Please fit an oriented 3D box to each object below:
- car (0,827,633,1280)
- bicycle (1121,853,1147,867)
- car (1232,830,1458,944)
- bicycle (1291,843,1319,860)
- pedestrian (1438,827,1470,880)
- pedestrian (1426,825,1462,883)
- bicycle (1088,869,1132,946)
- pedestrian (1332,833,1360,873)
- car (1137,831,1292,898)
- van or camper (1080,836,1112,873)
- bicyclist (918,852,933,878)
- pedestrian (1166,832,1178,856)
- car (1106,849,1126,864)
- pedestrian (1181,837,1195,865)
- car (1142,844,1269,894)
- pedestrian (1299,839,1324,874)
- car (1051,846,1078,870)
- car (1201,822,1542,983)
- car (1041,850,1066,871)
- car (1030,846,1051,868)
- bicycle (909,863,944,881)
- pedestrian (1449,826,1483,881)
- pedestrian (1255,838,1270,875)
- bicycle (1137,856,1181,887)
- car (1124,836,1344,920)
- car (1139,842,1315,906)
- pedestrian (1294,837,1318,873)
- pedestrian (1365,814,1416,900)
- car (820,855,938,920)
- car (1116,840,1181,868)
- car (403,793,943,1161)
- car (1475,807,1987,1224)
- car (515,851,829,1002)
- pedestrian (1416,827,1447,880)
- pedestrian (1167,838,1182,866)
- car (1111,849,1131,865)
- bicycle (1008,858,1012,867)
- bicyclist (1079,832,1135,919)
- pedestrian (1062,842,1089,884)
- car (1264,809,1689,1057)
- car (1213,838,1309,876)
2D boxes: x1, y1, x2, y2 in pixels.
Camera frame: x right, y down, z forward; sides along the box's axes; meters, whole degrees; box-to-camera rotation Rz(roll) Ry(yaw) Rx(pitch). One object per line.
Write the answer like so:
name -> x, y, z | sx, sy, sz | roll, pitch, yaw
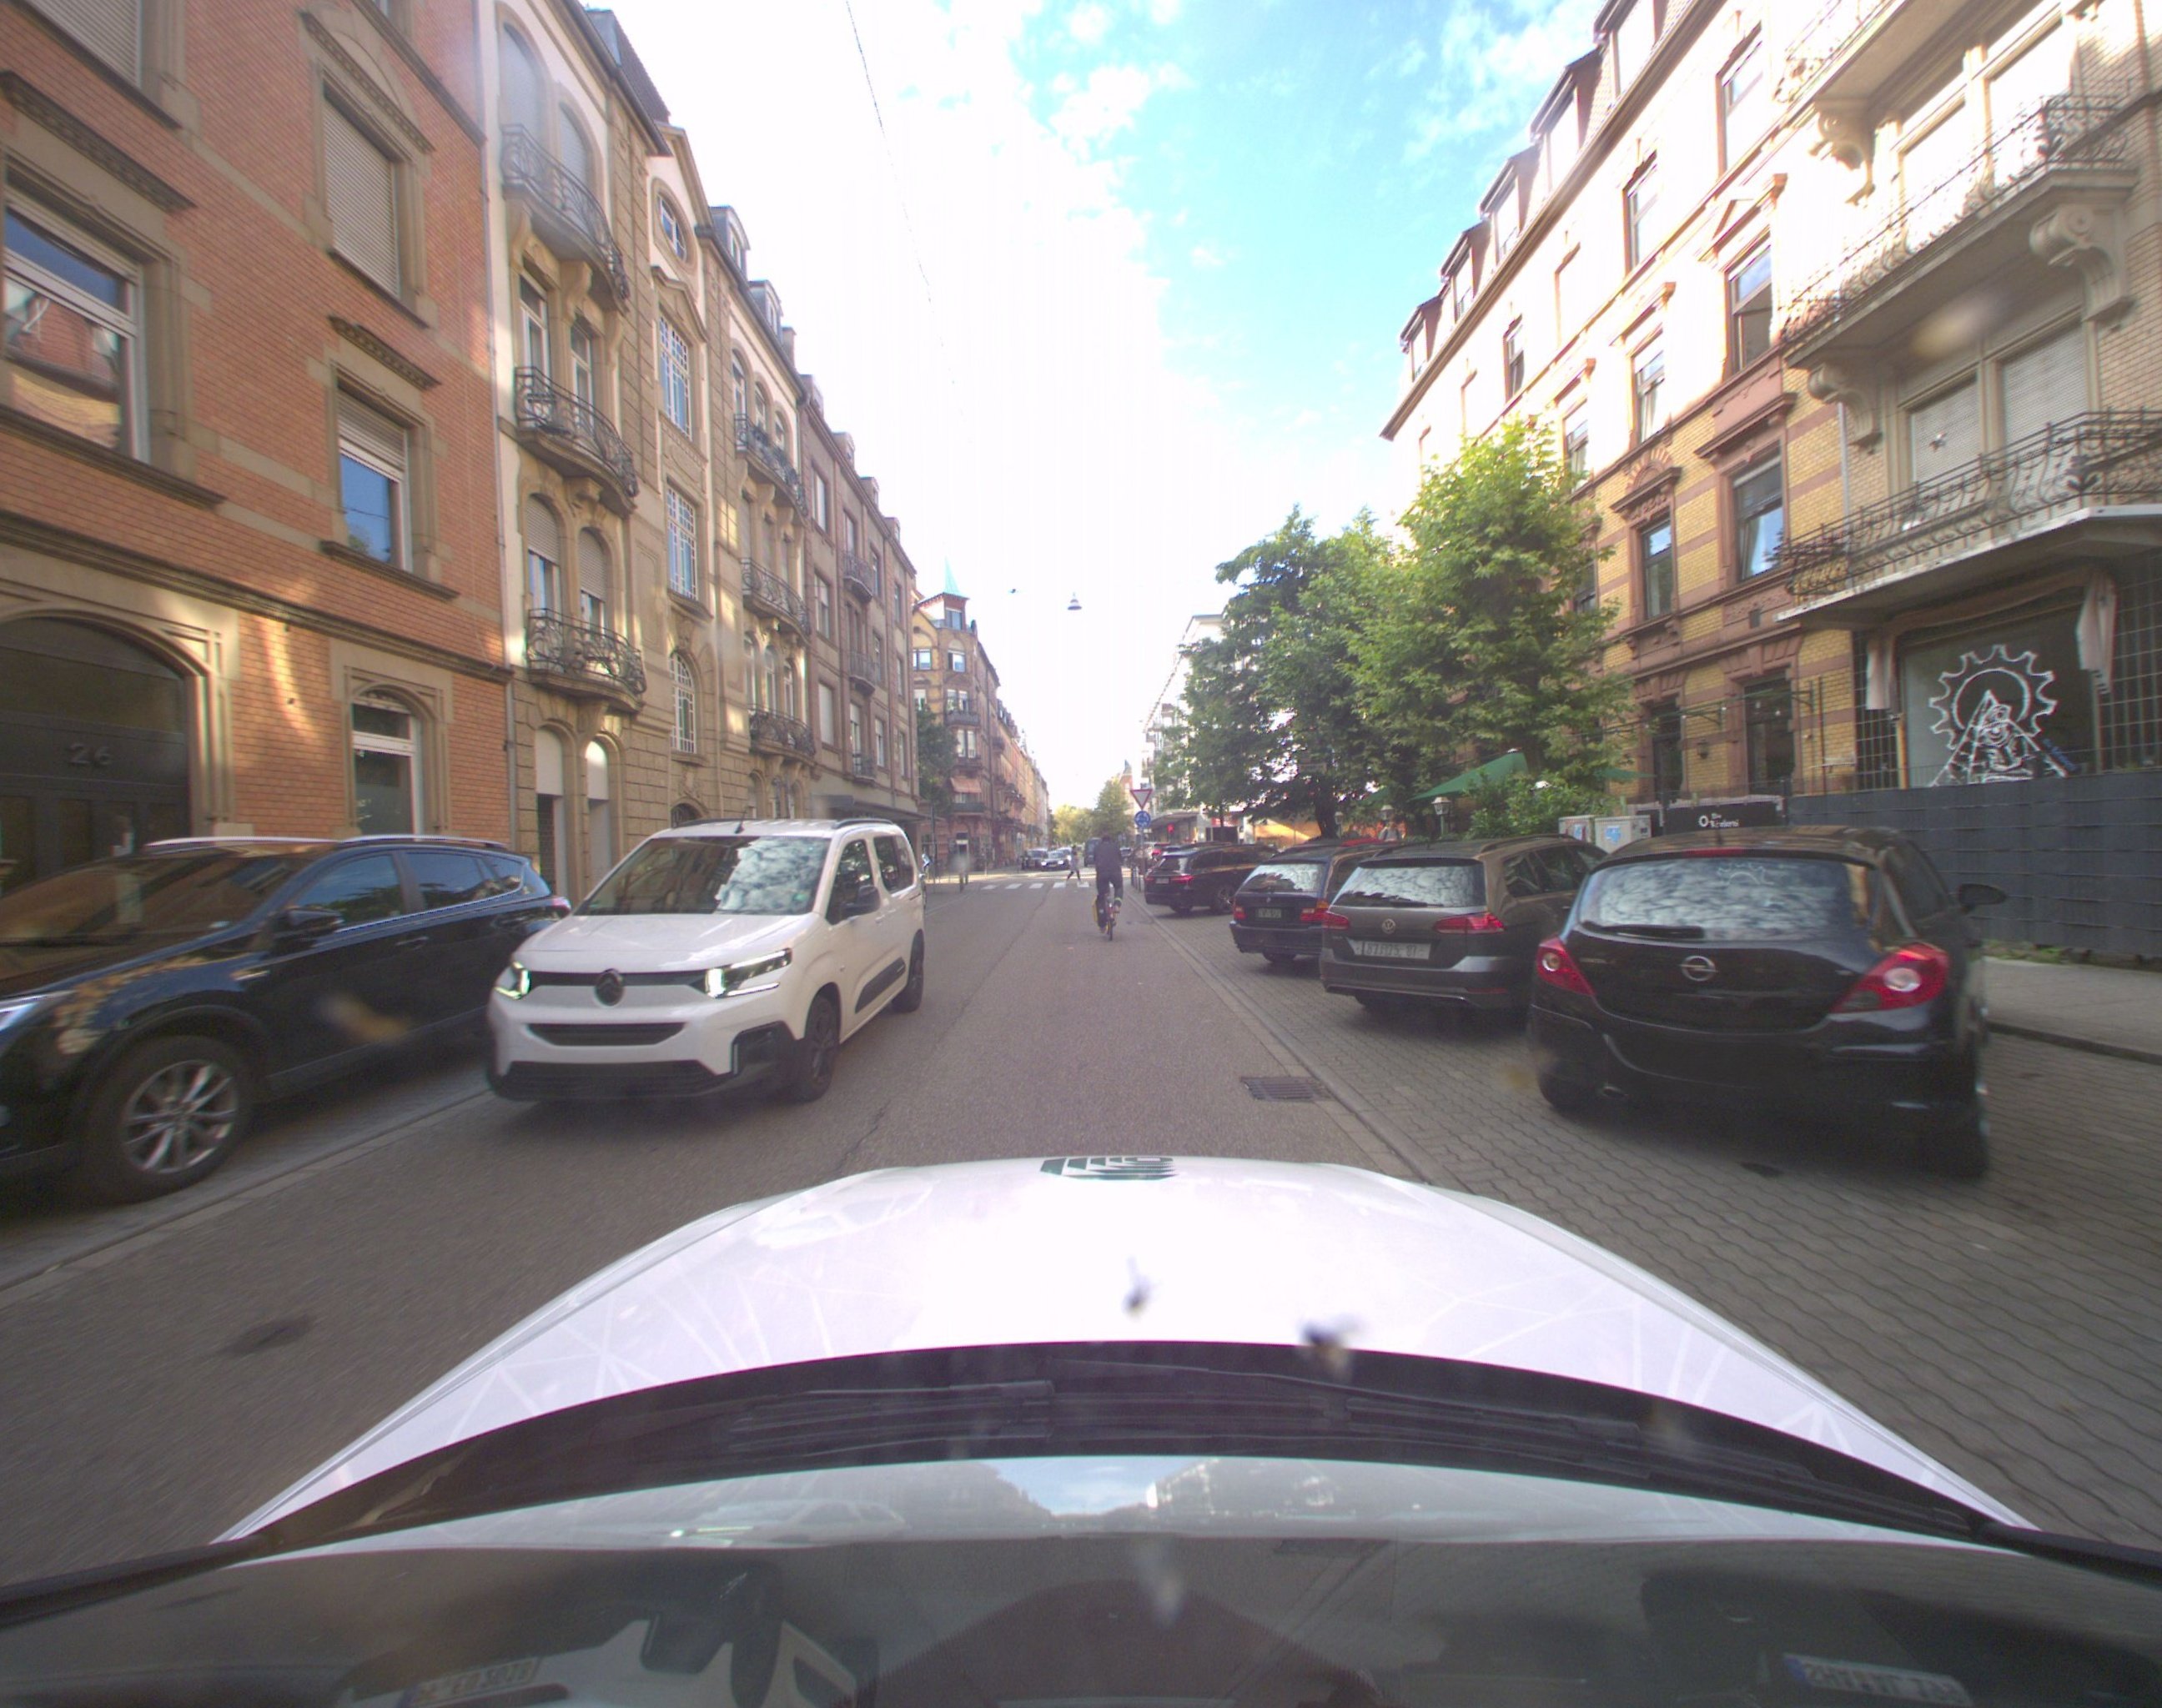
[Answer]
car -> -5.090, 0.725, 5.273 | 1.869, 1.681, 4.888 | -1, 1, -4
bicycle -> 4.187, 0.468, 64.784 | 1.992, 1.045, 0.532 | -3, 0, 2
car -> 4.431, 0.457, 13.458 | 3.738, 1.485, 1.721 | -4, 1, -38
bicycle -> 14.506, -0.145, 52.647 | 1.663, 1.050, 0.461 | -2, 0, 40
pedestrian -> 11.398, -0.024, 24.888 | 0.627, 1.570, 0.569 | -3, 0, -4
pedestrian -> 10.636, -0.001, 23.862 | 0.645, 1.642, 0.563 | -5, 0, -4
bicycle -> 0.468, 0.879, 14.272 | 0.663, 1.178, 2.497 | -1, 0, 0
pedestrian -> 9.587, -0.039, 29.441 | 0.671, 1.406, 0.757 | -2, 0, -4
car -> 4.113, 0.287, 24.973 | 4.364, 1.644, 1.806 | -5, 1, -26
van or camper -> 1.289, 0.024, 72.740 | 2.525, 3.037, 4.455 | -3, 0, -2
bicyclist -> -10.206, 0.711, 53.526 | 0.856, 1.665, 0.786 | -1, 0, -17
pedestrian -> 6.471, -0.717, 58.004 | 0.740, 1.629, 0.815 | -2, 0, 11
car -> 3.665, 0.284, 86.825 | 1.986, 1.486, 4.001 | -3, 0, 1
pedestrian -> 7.233, -0.190, 55.179 | 0.865, 1.851, 0.613 | -2, 0, 5
car -> 4.239, 0.465, 27.607 | 3.954, 1.457, 1.753 | -2, 0, -28
pedestrian -> 9.130, 0.087, 32.269 | 0.755, 1.342, 0.596 | -2, 0, -4
car -> -1.363, 0.275, 68.512 | 1.935, 1.721, 4.852 | -4, 2, 2
car -> 3.885, 0.473, 10.572 | 4.488, 1.464, 1.859 | -5, 2, -35
car -> -2.001, 0.477, 59.965 | 1.745, 1.436, 4.209 | -1, -1, -2
car -> -4.075, 0.281, 81.978 | 1.988, 2.013, 3.997 | -3, 0, -2
bicycle -> -10.172, 1.172, 53.534 | 2.190, 1.092, 0.674 | -1, 0, -17
pedestrian -> 11.291, -0.026, 23.893 | 0.627, 1.570, 0.569 | -3, 0, -4
pedestrian -> 8.766, 0.102, 39.292 | 0.624, 1.739, 0.778 | -2, 0, 12
bicycle -> 2.820, 0.636, 29.595 | 0.551, 1.040, 1.839 | -6, 1, -29
car -> 3.601, 0.482, 18.991 | 4.781, 1.456, 2.038 | -5, 2, -28
car -> 4.009, 0.503, 22.306 | 4.422, 1.457, 1.927 | -3, 0, -25
pedestrian -> 9.068, 0.046, 32.853 | 0.755, 1.392, 0.548 | -2, 0, -5
pedestrian -> 6.978, 0.062, 18.382 | 0.835, 1.878, 0.723 | -3, 0, 4
car -> -5.143, 0.793, 21.355 | 1.988, 1.420, 4.243 | -3, 0, -1
car -> 4.167, 0.032, 50.936 | 2.008, 1.618, 3.959 | -3, 0, -33
car -> -2.451, 0.617, 6.360 | 1.911, 1.828, 4.438 | -1, 0, 0
car -> 4.163, 0.535, 4.939 | 4.017, 1.459, 1.730 | -4, 1, -42
car -> -5.099, 0.785, 11.009 | 1.988, 1.545, 4.425 | -2, 0, -1
pedestrian -> 10.697, -0.023, 24.842 | 0.627, 1.570, 0.569 | -3, 0, -4
pedestrian -> 6.344, -0.147, 55.255 | 0.865, 1.851, 0.613 | -2, 0, 5
car -> 3.673, 0.278, 75.349 | 1.639, 1.324, 3.578 | -5, 0, 1
bicycle -> -7.416, 0.866, 84.864 | 0.359, 0.947, 1.713 | -2, 0, -4
bicyclist -> 0.447, 0.368, 14.330 | 0.930, 1.484, 0.747 | -1, 0, -1
pedestrian -> -0.225, 0.402, 35.351 | 0.774, 1.779, 0.798 | -3, 0, 38
car -> 3.920, 0.482, 7.670 | 4.493, 1.476, 1.867 | -6, 2, -40
car -> 9.984, 0.168, 45.445 | 4.814, 1.724, 2.043 | -4, 2, 0
